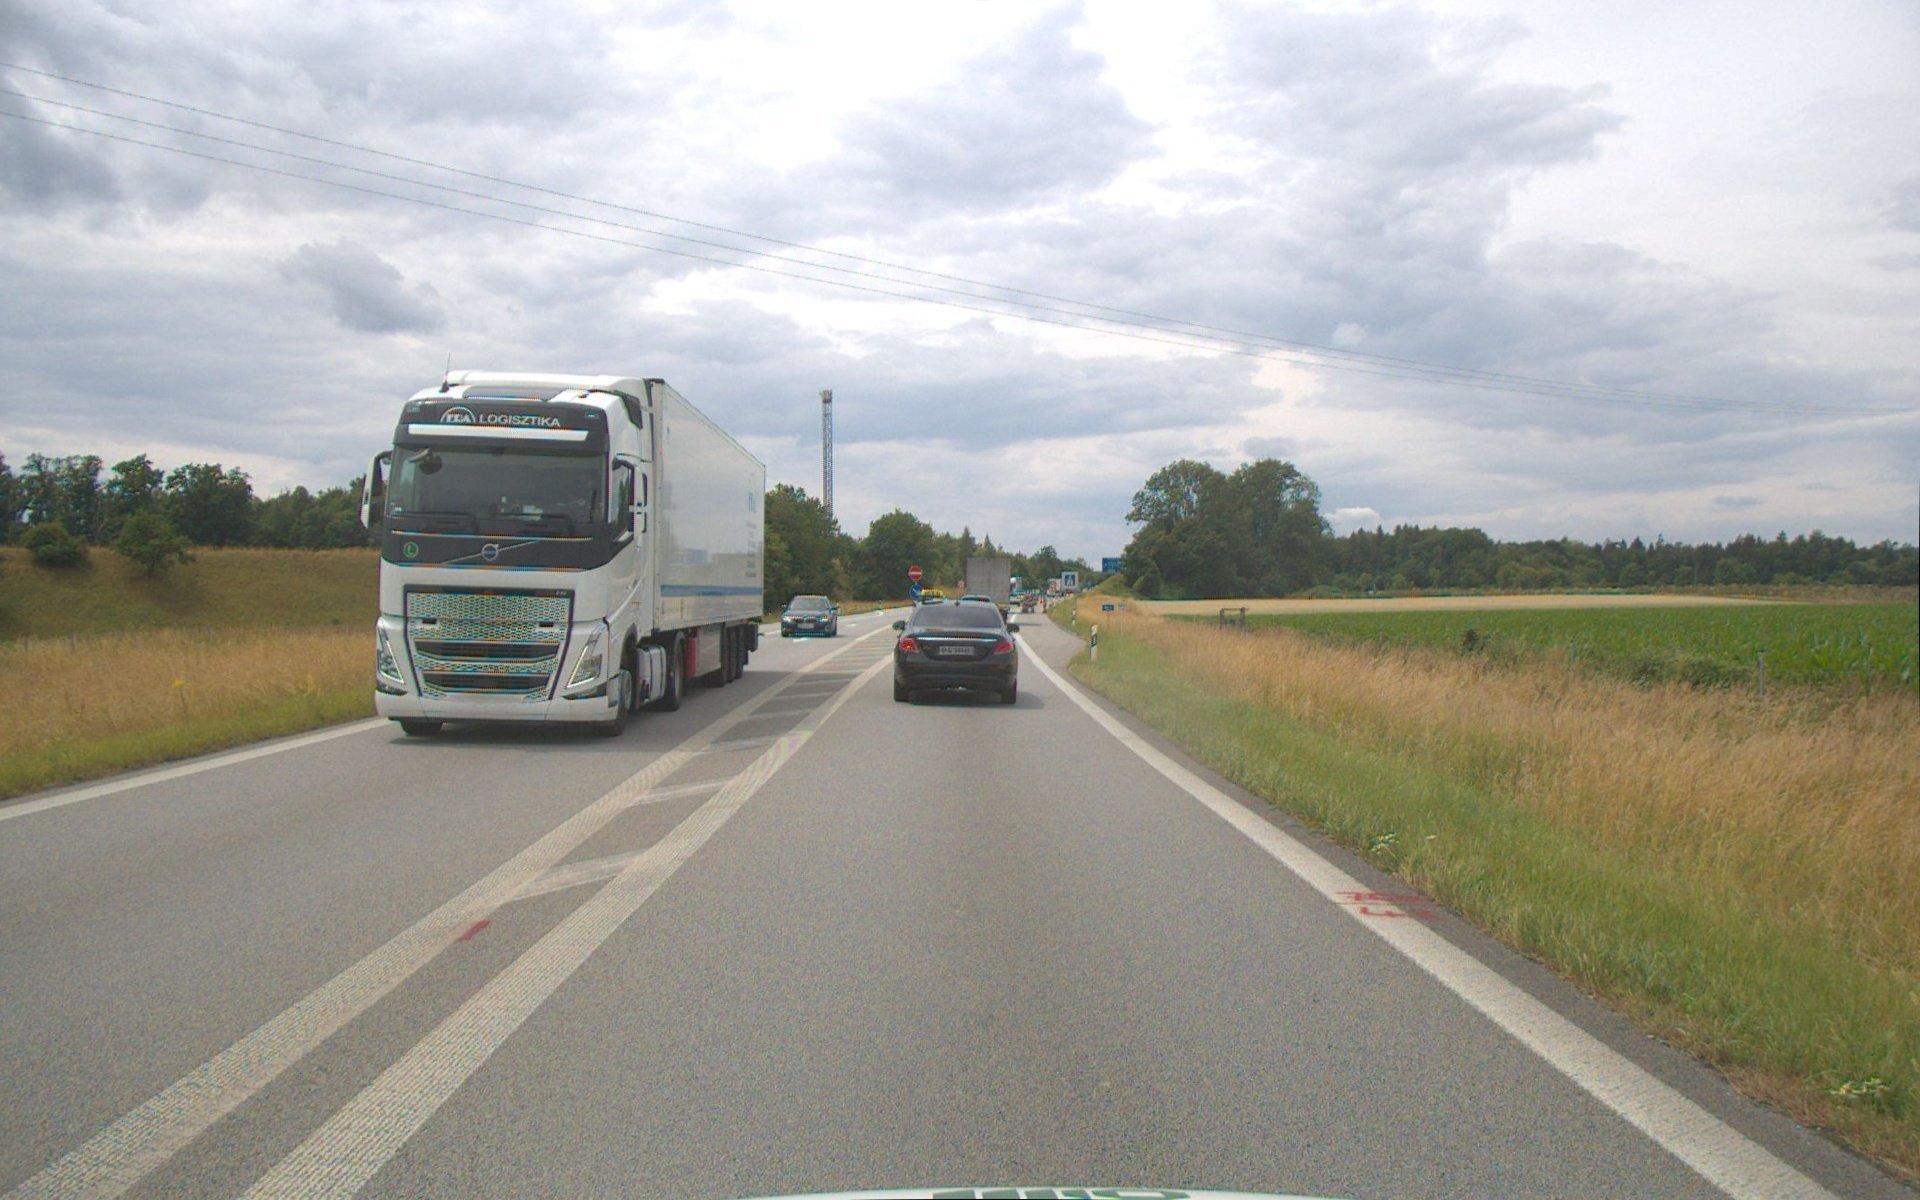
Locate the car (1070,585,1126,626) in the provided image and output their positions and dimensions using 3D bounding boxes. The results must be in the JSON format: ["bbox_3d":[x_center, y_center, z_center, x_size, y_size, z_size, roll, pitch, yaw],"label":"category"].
[{"bbox_3d":[6.029,0.238,72.552,1.761,1.691,3.995,1,0,-5],"label":"car"}]

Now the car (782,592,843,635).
[{"bbox_3d":[-5.471,0.498,61.952,1.819,1.505,5.197,1,0,0],"label":"car"}]

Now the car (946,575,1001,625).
[{"bbox_3d":[0.545,0.008,71.766,1.955,2.049,3.995,1,0,-5],"label":"car"}]

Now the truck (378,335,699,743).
[{"bbox_3d":[-4.627,-0.633,19.162,2.439,4.065,5.203,0,0,-1],"label":"truck"}]

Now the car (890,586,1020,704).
[{"bbox_3d":[-0.015,0.632,24.912,1.758,1.587,4.001,1,0,2],"label":"car"}]

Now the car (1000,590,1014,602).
[{"bbox_3d":[5.918,-0.465,209.971,1.615,1.420,3.705,1,0,-1],"label":"car"}]

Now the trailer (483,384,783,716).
[{"bbox_3d":[-4.728,-0.674,26.905,2.439,4.065,13.074,0,0,-1],"label":"trailer"}]

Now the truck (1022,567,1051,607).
[{"bbox_3d":[6.963,-1.164,151.383,1.955,3.587,4.587,1,0,-5],"label":"truck"}]

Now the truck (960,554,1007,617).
[{"bbox_3d":[1.388,-0.818,96.819,2.533,3.586,4.814,1,0,2],"label":"truck"}]
